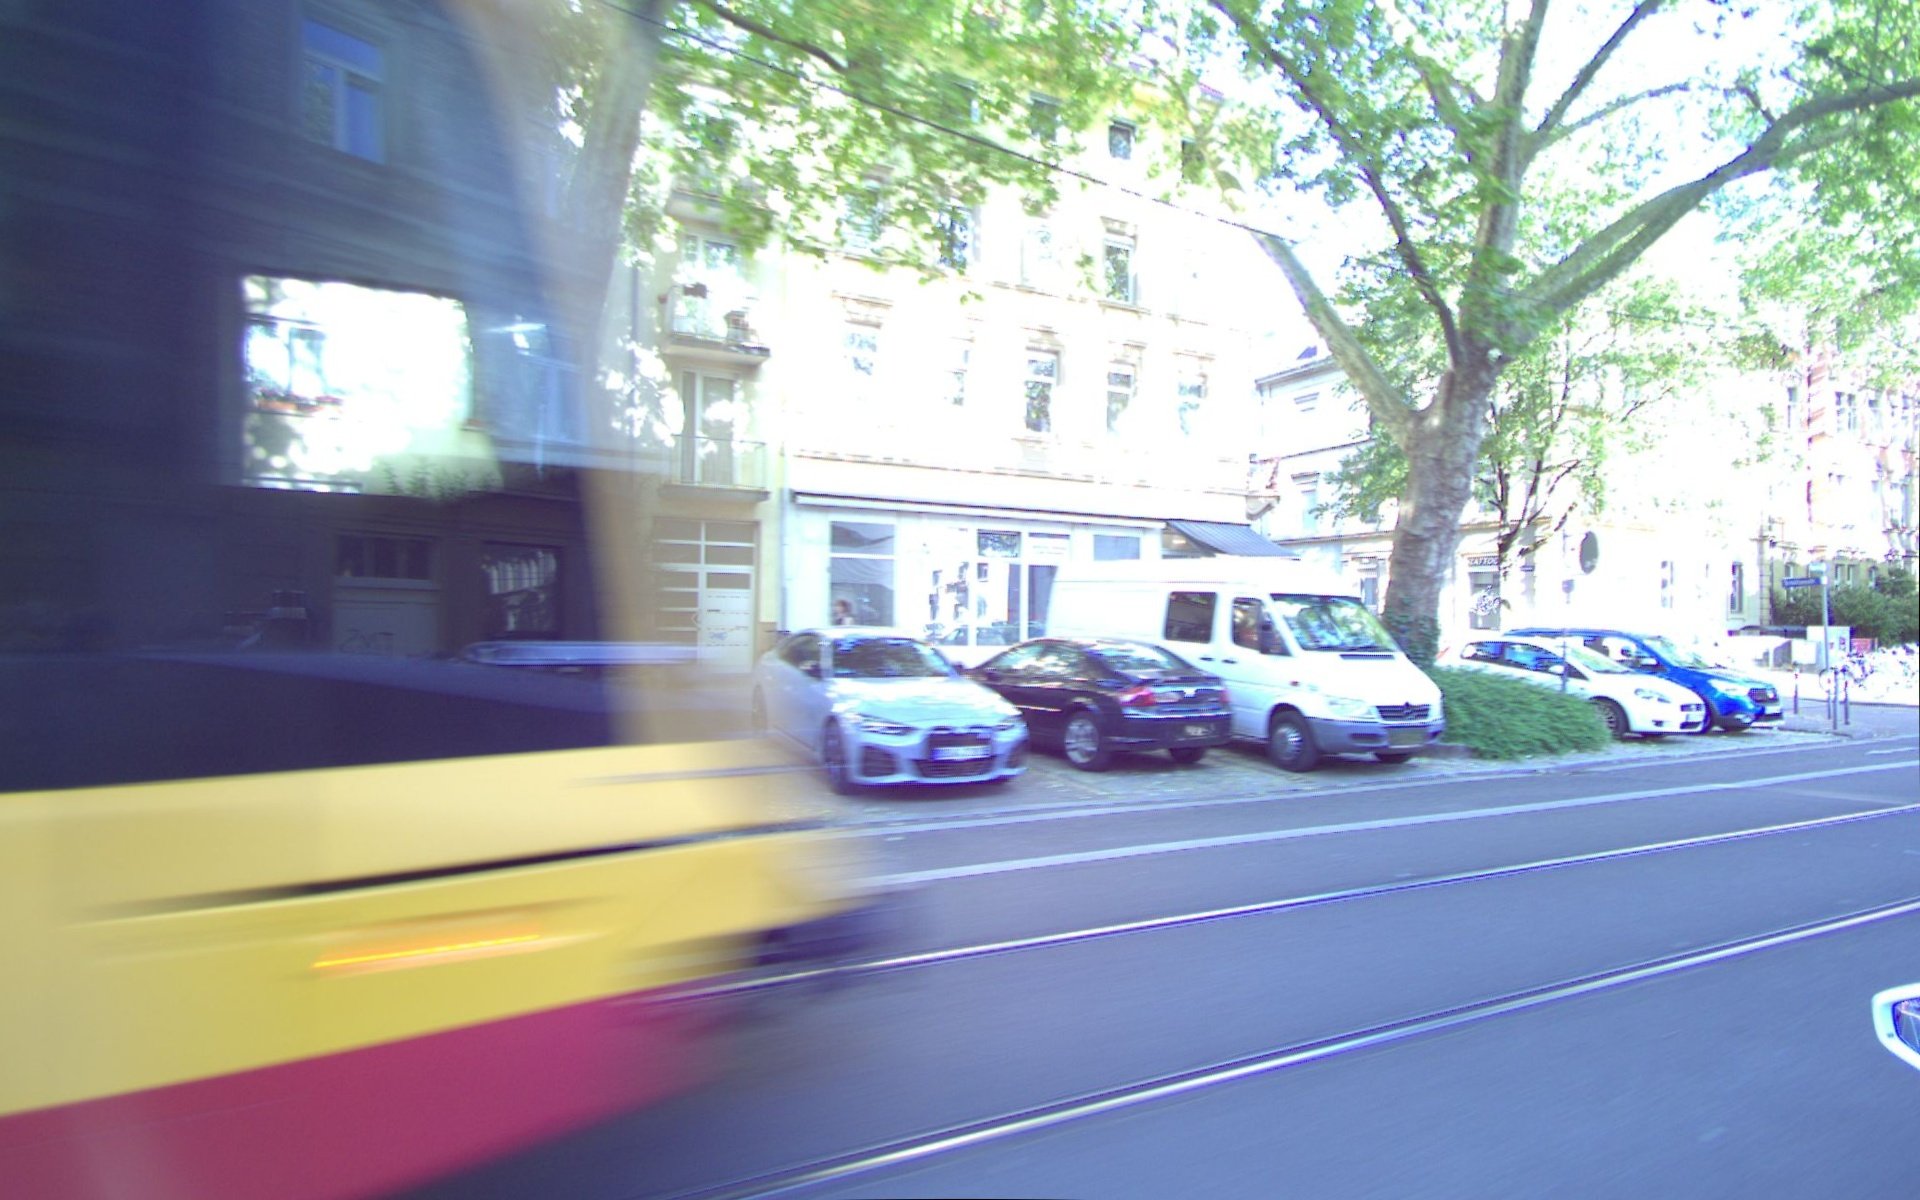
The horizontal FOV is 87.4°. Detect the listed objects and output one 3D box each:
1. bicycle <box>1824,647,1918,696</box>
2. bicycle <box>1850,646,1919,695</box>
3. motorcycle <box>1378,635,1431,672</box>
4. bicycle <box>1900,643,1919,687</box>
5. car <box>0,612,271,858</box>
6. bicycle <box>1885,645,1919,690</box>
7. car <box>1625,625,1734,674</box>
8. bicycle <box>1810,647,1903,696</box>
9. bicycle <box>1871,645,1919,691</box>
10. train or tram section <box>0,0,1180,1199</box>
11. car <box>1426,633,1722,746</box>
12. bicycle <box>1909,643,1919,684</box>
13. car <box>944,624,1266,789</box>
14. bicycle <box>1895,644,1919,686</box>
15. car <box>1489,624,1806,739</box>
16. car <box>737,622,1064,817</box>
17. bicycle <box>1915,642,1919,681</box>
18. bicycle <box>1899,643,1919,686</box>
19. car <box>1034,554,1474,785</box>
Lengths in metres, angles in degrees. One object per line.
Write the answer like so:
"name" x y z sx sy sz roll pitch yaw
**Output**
"bicycle" 22.014 1.712 24.315 0.389 1.102 1.860 1 -1 -8
"bicycle" 22.741 1.702 24.400 0.389 1.102 1.860 1 -1 -8
"motorcycle" 15.428 1.846 34.870 1.848 1.278 0.587 1 -1 -22
"bicycle" 24.680 1.653 25.299 0.389 1.102 1.561 1 -1 -8
"car" -7.125 0.893 8.233 1.844 1.465 4.044 0 1 -26
"bicycle" 24.240 1.705 25.257 0.389 1.102 1.561 1 -1 -8
"car" 23.049 1.564 32.171 3.448 1.479 1.591 1 -1 -30
"bicycle" 21.592 1.706 24.245 0.389 1.102 1.860 1 -1 -8
"bicycle" 23.799 1.692 25.146 0.389 1.102 1.561 1 -1 -8
"train or tram section" -5.058 -0.448 1.157 10.916 3.667 2.927 2 0 -26
"car" 9.764 1.339 16.265 1.727 1.538 3.752 1 -1 -30
"bicycle" 26.186 1.716 26.661 0.389 1.102 1.561 1 -1 -8
"car" 1.582 1.151 12.493 1.881 1.517 4.128 2 0 -28
"bicycle" 25.711 1.732 26.547 0.389 1.102 1.561 1 -1 -8
"car" 11.907 1.313 17.732 1.795 1.734 4.300 1 -1 -30
"car" -0.956 1.071 11.158 1.973 1.465 4.916 1 1 -25
"bicycle" 27.236 1.704 27.296 0.586 1.102 1.922 1 -1 -8
"bicycle" 25.092 1.663 25.762 0.389 1.102 1.561 1 -1 -8
"car" 3.540 0.685 14.011 1.974 2.440 6.579 0 1 -26
